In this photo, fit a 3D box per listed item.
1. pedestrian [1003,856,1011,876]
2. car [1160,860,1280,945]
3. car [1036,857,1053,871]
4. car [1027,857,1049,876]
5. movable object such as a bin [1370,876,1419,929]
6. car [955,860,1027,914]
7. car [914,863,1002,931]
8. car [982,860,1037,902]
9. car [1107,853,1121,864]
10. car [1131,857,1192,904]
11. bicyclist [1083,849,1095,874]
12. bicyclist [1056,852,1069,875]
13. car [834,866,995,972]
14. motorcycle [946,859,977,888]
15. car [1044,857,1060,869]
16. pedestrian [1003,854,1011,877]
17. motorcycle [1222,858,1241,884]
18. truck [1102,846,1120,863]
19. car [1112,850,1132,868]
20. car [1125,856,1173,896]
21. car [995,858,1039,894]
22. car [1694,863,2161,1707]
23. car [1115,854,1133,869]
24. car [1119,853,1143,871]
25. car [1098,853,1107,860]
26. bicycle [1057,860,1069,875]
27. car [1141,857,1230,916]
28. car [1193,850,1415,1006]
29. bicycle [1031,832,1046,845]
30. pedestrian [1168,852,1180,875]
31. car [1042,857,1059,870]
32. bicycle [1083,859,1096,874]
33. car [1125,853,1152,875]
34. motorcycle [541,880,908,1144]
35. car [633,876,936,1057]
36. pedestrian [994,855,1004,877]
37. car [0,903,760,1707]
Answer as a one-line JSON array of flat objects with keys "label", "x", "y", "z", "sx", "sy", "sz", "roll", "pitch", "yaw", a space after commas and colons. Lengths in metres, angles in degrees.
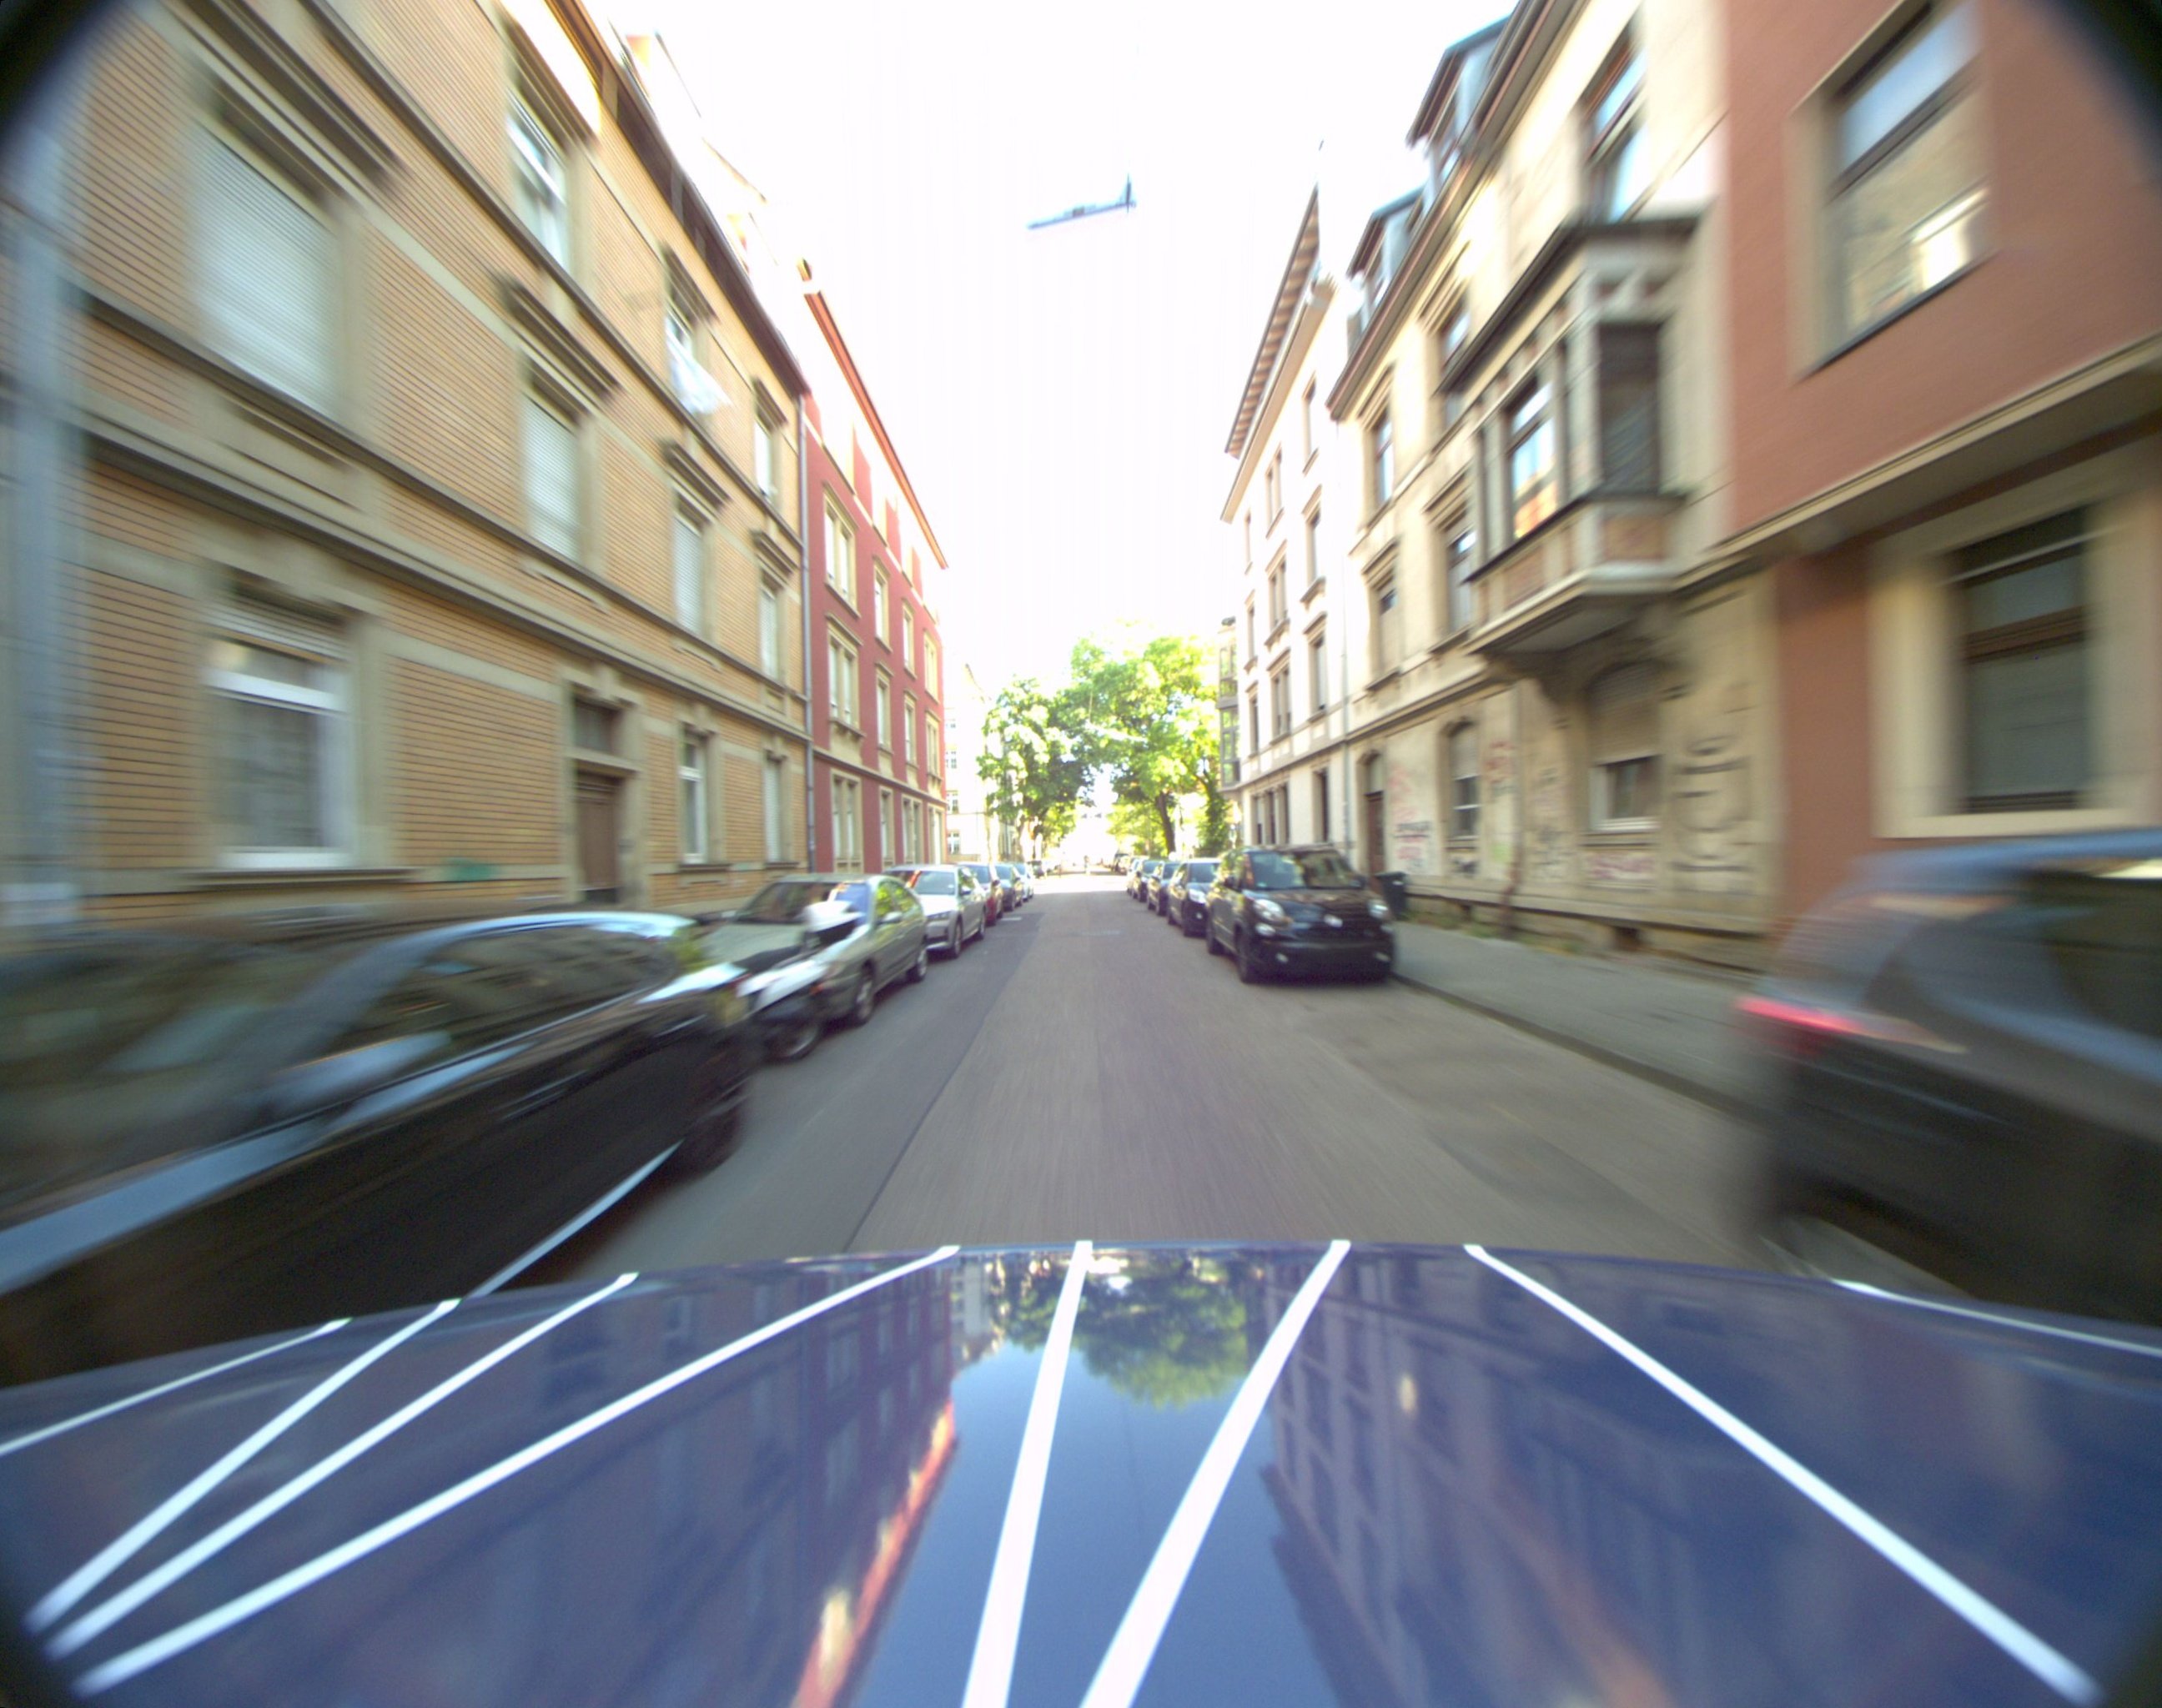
[{"label": "pedestrian", "x": -6.693, "y": 1.088, "z": 68.818, "sx": 0.529, "sy": 1.834, "sz": 0.707, "roll": -1, "pitch": 1, "yaw": 1}, {"label": "car", "x": 2.646, "y": 0.872, "z": 15.283, "sx": 1.647, "sy": 1.447, "sz": 3.838, "roll": 1, "pitch": 0, "yaw": -1}, {"label": "car", "x": -3.989, "y": 1.086, "z": 84.310, "sx": 1.651, "sy": 1.433, "sz": 4.000, "roll": -1, "pitch": 0, "yaw": 0}, {"label": "car", "x": -3.610, "y": 1.019, "z": 64.364, "sx": 1.685, "sy": 1.531, "sz": 4.134, "roll": 0, "pitch": 0, "yaw": -1}, {"label": "movable object such as a bin", "x": 5.860, "y": 0.895, "z": 14.229, "sx": 0.614, "sy": 0.915, "sz": 0.734, "roll": -1, "pitch": 1, "yaw": 0}, {"label": "car", "x": -2.731, "y": 0.977, "z": 23.798, "sx": 1.681, "sy": 1.494, "sz": 4.069, "roll": -1, "pitch": 0, "yaw": 1}, {"label": "car", "x": -2.984, "y": 0.990, "z": 19.177, "sx": 1.663, "sy": 1.471, "sz": 4.024, "roll": -1, "pitch": 0, "yaw": -2}, {"label": "car", "x": -2.693, "y": 1.003, "z": 29.521, "sx": 1.709, "sy": 1.454, "sz": 3.970, "roll": -1, "pitch": 0, "yaw": 0}, {"label": "car", "x": 4.529, "y": 0.629, "z": 104.600, "sx": 1.755, "sy": 1.464, "sz": 4.000, "roll": -3, "pitch": 0, "yaw": 0}, {"label": "car", "x": 2.764, "y": 0.866, "z": 26.708, "sx": 1.785, "sy": 1.474, "sz": 3.742, "roll": -1, "pitch": 0, "yaw": 1}, {"label": "bicyclist", "x": 0.628, "y": 0.586, "z": 60.002, "sx": 0.967, "sy": 1.904, "sz": 1.139, "roll": -1, "pitch": 0, "yaw": 0}, {"label": "bicyclist", "x": -1.459, "y": 0.729, "z": 60.142, "sx": 0.934, "sy": 1.809, "sz": 1.078, "roll": -1, "pitch": 0, "yaw": 0}, {"label": "car", "x": -2.700, "y": 0.989, "z": 13.391, "sx": 1.766, "sy": 1.475, "sz": 4.401, "roll": -1, "pitch": 0, "yaw": 1}, {"label": "motorcycle", "x": -6.548, "y": 1.064, "z": 41.790, "sx": 0.873, "sy": 1.516, "sz": 2.625, "roll": -1, "pitch": -1, "yaw": 9}, {"label": "car", "x": -3.780, "y": 1.122, "z": 98.417, "sx": 1.812, "sy": 1.412, "sz": 4.000, "roll": -1, "pitch": 0, "yaw": 0}, {"label": "pedestrian", "x": -5.675, "y": 0.893, "z": 58.124, "sx": 0.520, "sy": 1.708, "sz": 0.516, "roll": -1, "pitch": 1, "yaw": -2}, {"label": "motorcycle", "x": 7.527, "y": 0.833, "z": 37.985, "sx": 0.612, "sy": 1.190, "sz": 2.046, "roll": -1, "pitch": 1, "yaw": 20}, {"label": "truck", "x": 4.735, "y": 0.013, "z": 122.381, "sx": 2.395, "sy": 2.641, "sz": 7.092, "roll": -1, "pitch": 0, "yaw": -1}, {"label": "car", "x": 4.479, "y": 0.531, "z": 83.769, "sx": 1.998, "sy": 1.946, "sz": 5.042, "roll": 1, "pitch": 0, "yaw": 0}, {"label": "car", "x": 2.781, "y": 0.863, "z": 31.574, "sx": 1.785, "sy": 1.474, "sz": 3.933, "roll": -1, "pitch": 0, "yaw": 3}, {"label": "car", "x": -2.813, "y": 0.929, "z": 34.042, "sx": 1.672, "sy": 1.474, "sz": 3.706, "roll": -1, "pitch": 0, "yaw": -1}, {"label": "car", "x": 2.710, "y": 0.835, "z": 0.181, "sx": 1.786, "sy": 1.596, "sz": 4.069, "roll": -1, "pitch": 0, "yaw": -1}, {"label": "car", "x": 4.396, "y": 0.753, "z": 78.286, "sx": 1.731, "sy": 1.455, "sz": 3.844, "roll": 0, "pitch": 0, "yaw": 0}, {"label": "car", "x": 4.476, "y": 0.733, "z": 68.092, "sx": 1.793, "sy": 1.524, "sz": 4.000, "roll": 2, "pitch": 0, "yaw": -1}, {"label": "car", "x": 4.496, "y": 0.508, "z": 158.385, "sx": 1.597, "sy": 1.557, "sz": 3.999, "roll": -1, "pitch": 0, "yaw": 0}, {"label": "bicycle", "x": -1.425, "y": 1.040, "z": 60.107, "sx": 0.810, "sy": 1.136, "sz": 2.547, "roll": -1, "pitch": 0, "yaw": 0}, {"label": "car", "x": 2.706, "y": 0.796, "z": 20.457, "sx": 1.786, "sy": 1.395, "sz": 3.742, "roll": -1, "pitch": 0, "yaw": -1}, {"label": "car", "x": 2.655, "y": 0.782, "z": 10.105, "sx": 1.765, "sy": 1.608, "sz": 4.189, "roll": -1, "pitch": 0, "yaw": 1}, {"label": "bicycle", "x": -4.164, "y": -1.548, "z": 74.595, "sx": 1.414, "sy": 1.188, "sz": 0.336, "roll": -3, "pitch": 1, "yaw": -2}, {"label": "pedestrian", "x": 7.077, "y": 0.686, "z": 57.854, "sx": 0.805, "sy": 1.736, "sz": 1.006, "roll": -1, "pitch": 1, "yaw": 1}, {"label": "car", "x": -3.762, "y": 1.152, "z": 93.315, "sx": 1.824, "sy": 1.521, "sz": 4.000, "roll": -1, "pitch": 0, "yaw": 0}, {"label": "bicycle", "x": 0.631, "y": 0.989, "z": 60.016, "sx": 0.985, "sy": 1.136, "sz": 2.547, "roll": -1, "pitch": 0, "yaw": 0}, {"label": "car", "x": 4.383, "y": 0.703, "z": 58.043, "sx": 1.710, "sy": 1.549, "sz": 3.952, "roll": 2, "pitch": 1, "yaw": 0}, {"label": "motorcycle", "x": -2.558, "y": 1.033, "z": 5.699, "sx": 2.229, "sy": 1.527, "sz": 0.888, "roll": -4, "pitch": 0, "yaw": -25}, {"label": "car", "x": -2.883, "y": 1.010, "z": 8.402, "sx": 1.696, "sy": 1.398, "sz": 3.992, "roll": -1, "pitch": 0, "yaw": 1}, {"label": "pedestrian", "x": -6.271, "y": 0.909, "z": 58.137, "sx": 0.624, "sy": 1.675, "sz": 0.818, "roll": -1, "pitch": 1, "yaw": 0}, {"label": "car", "x": -2.832, "y": 0.992, "z": 2.323, "sx": 1.782, "sy": 1.388, "sz": 4.317, "roll": -1, "pitch": 0, "yaw": 1}]
